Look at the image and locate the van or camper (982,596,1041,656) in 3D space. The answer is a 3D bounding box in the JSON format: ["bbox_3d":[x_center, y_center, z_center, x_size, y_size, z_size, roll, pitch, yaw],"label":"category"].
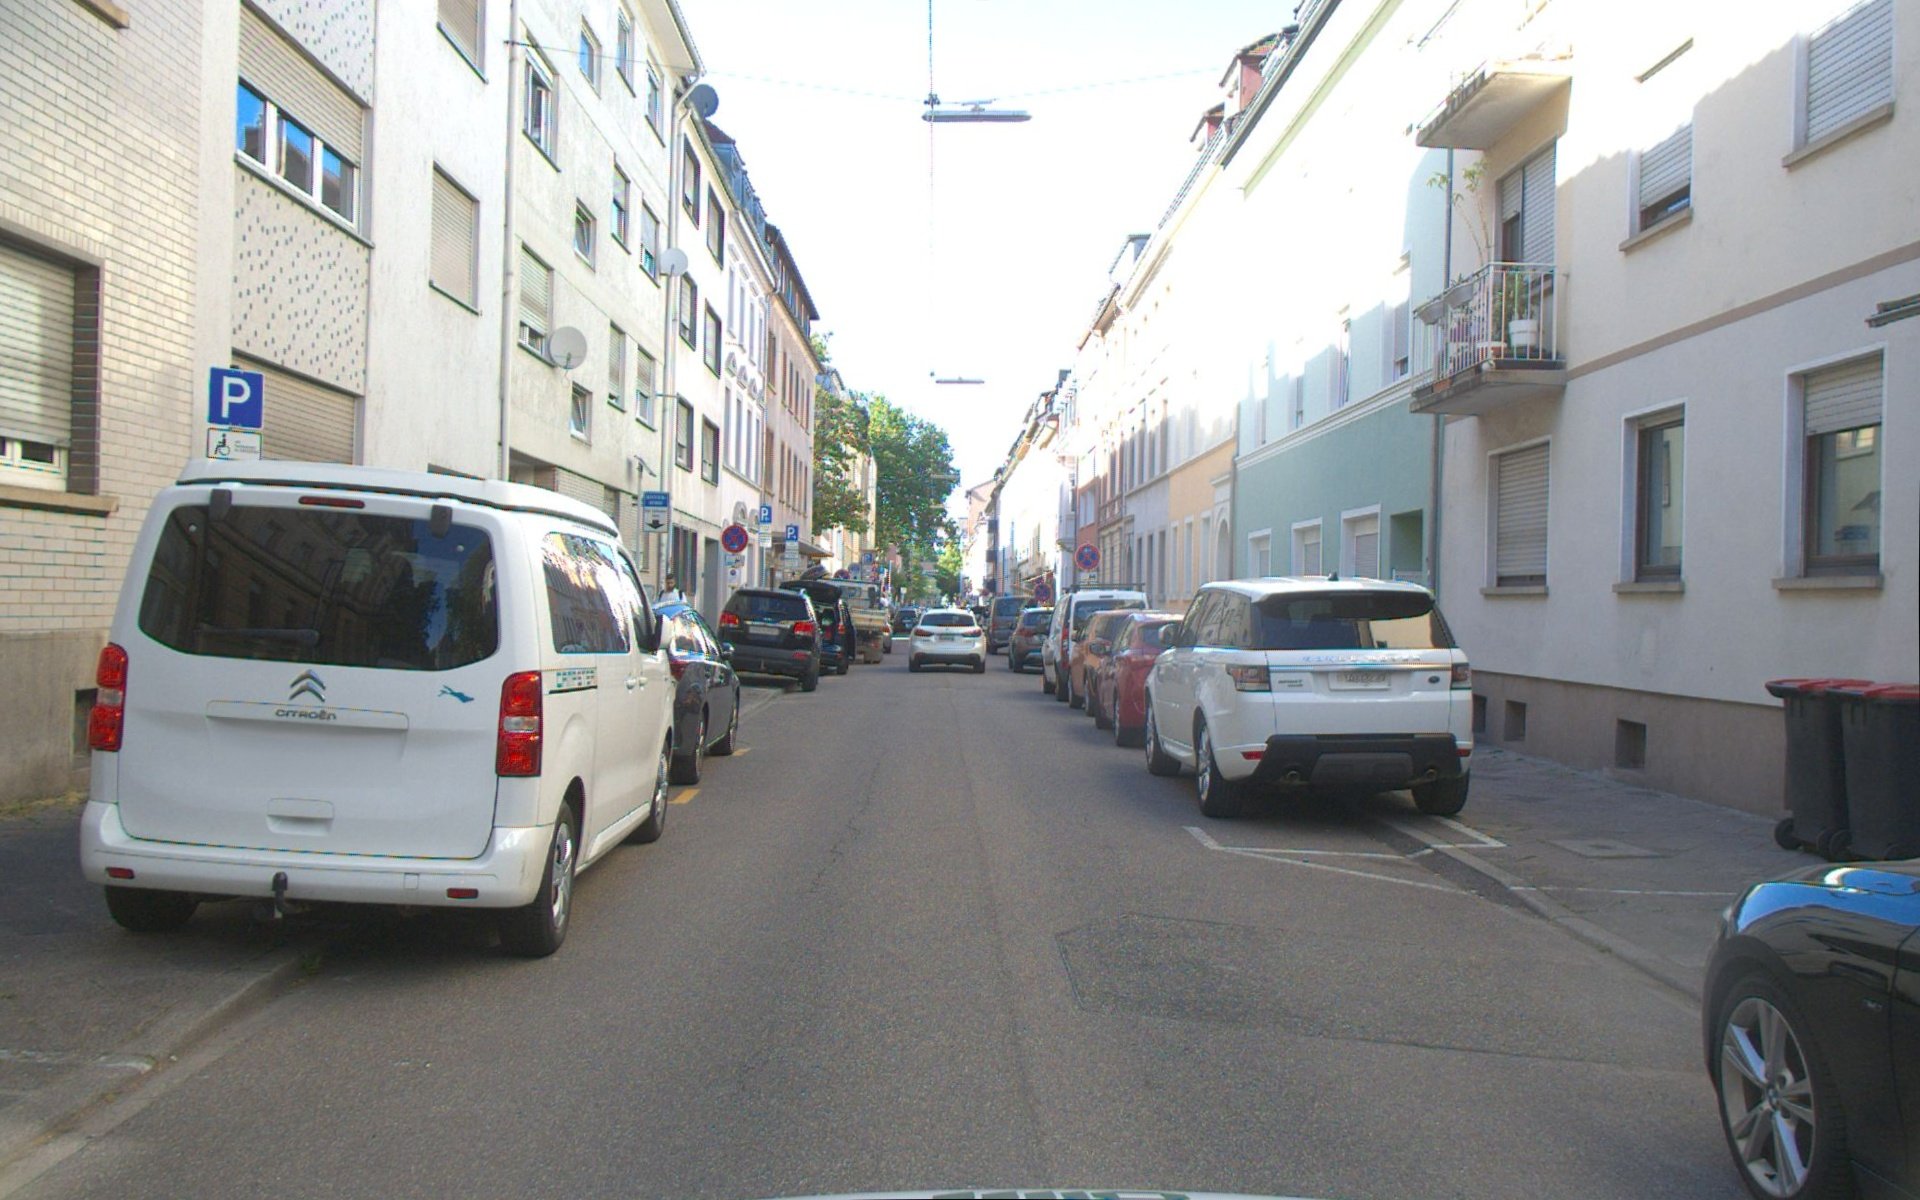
[{"bbox_3d":[1.814,0.929,59.193,1.740,2.072,4.567,0,-1,-3],"label":"van or camper"}]

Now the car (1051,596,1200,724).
[{"bbox_3d":[2.359,0.825,24.397,1.549,1.660,3.679,3,0,-3],"label":"car"}]

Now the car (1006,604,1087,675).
[{"bbox_3d":[2.114,0.939,41.549,1.704,1.604,4.376,2,0,-1],"label":"car"}]

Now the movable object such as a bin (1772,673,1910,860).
[{"bbox_3d":[5.422,1.009,10.196,0.565,1.089,0.553,1,-1,2],"label":"movable object such as a bin"}]

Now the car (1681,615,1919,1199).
[{"bbox_3d":[2.965,0.840,2.760,1.711,1.474,3.869,3,0,-1],"label":"car"}]

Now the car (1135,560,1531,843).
[{"bbox_3d":[2.717,0.659,13.344,1.965,1.815,4.937,2,0,-1],"label":"car"}]

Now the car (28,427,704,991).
[{"bbox_3d":[-2.571,0.404,8.551,1.856,1.992,4.779,4,0,-3],"label":"car"}]

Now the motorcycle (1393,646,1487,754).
[{"bbox_3d":[5.186,1.054,17.955,0.470,1.064,1.691,1,0,-1],"label":"motorcycle"}]

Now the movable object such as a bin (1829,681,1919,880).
[{"bbox_3d":[5.443,1.029,9.550,0.565,1.089,0.553,1,-1,2],"label":"movable object such as a bin"}]

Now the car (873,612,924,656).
[{"bbox_3d":[-2.154,1.163,57.887,1.723,1.440,3.998,0,0,-2],"label":"car"}]

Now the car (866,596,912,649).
[{"bbox_3d":[-2.736,0.850,63.119,1.614,1.900,3.997,2,0,-3],"label":"car"}]

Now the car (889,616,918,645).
[{"bbox_3d":[-3.343,1.782,98.868,1.592,1.625,3.579,2,0,-1],"label":"car"}]

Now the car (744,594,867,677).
[{"bbox_3d":[-3.526,0.793,38.753,2.392,1.735,5.241,2,0,-1],"label":"car"}]

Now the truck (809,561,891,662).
[{"bbox_3d":[-3.174,0.391,46.726,2.115,2.636,6.241,1,-2,-5],"label":"truck"}]

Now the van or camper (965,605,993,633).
[{"bbox_3d":[1.385,1.416,121.730,1.953,1.960,3.999,1,-2,-1],"label":"van or camper"}]

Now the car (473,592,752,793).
[{"bbox_3d":[-2.926,0.723,14.800,1.672,1.475,4.299,2,0,-2],"label":"car"}]

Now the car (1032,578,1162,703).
[{"bbox_3d":[2.329,0.687,29.056,1.746,1.996,4.334,2,-1,-2],"label":"car"}]

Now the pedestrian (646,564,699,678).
[{"bbox_3d":[-5.048,0.367,29.072,0.789,1.968,0.690,1,-1,-1],"label":"pedestrian"}]

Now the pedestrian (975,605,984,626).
[{"bbox_3d":[1.456,1.158,123.380,0.614,1.490,0.575,1,-2,-1],"label":"pedestrian"}]

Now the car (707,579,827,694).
[{"bbox_3d":[-3.430,0.600,30.129,1.843,1.785,4.539,5,0,-4],"label":"car"}]

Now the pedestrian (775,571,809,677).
[{"bbox_3d":[-3.641,0.518,35.886,0.606,2.268,0.688,1,-2,-1],"label":"pedestrian"}]

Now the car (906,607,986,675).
[{"bbox_3d":[-0.308,0.947,39.563,1.796,1.512,4.056,1,-1,0],"label":"car"}]

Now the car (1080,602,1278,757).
[{"bbox_3d":[2.482,0.850,19.628,1.707,1.596,4.031,1,0,-1],"label":"car"}]

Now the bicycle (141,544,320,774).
[{"bbox_3d":[-5.300,0.406,12.129,0.546,1.535,1.799,3,-1,-4],"label":"bicycle"}]
